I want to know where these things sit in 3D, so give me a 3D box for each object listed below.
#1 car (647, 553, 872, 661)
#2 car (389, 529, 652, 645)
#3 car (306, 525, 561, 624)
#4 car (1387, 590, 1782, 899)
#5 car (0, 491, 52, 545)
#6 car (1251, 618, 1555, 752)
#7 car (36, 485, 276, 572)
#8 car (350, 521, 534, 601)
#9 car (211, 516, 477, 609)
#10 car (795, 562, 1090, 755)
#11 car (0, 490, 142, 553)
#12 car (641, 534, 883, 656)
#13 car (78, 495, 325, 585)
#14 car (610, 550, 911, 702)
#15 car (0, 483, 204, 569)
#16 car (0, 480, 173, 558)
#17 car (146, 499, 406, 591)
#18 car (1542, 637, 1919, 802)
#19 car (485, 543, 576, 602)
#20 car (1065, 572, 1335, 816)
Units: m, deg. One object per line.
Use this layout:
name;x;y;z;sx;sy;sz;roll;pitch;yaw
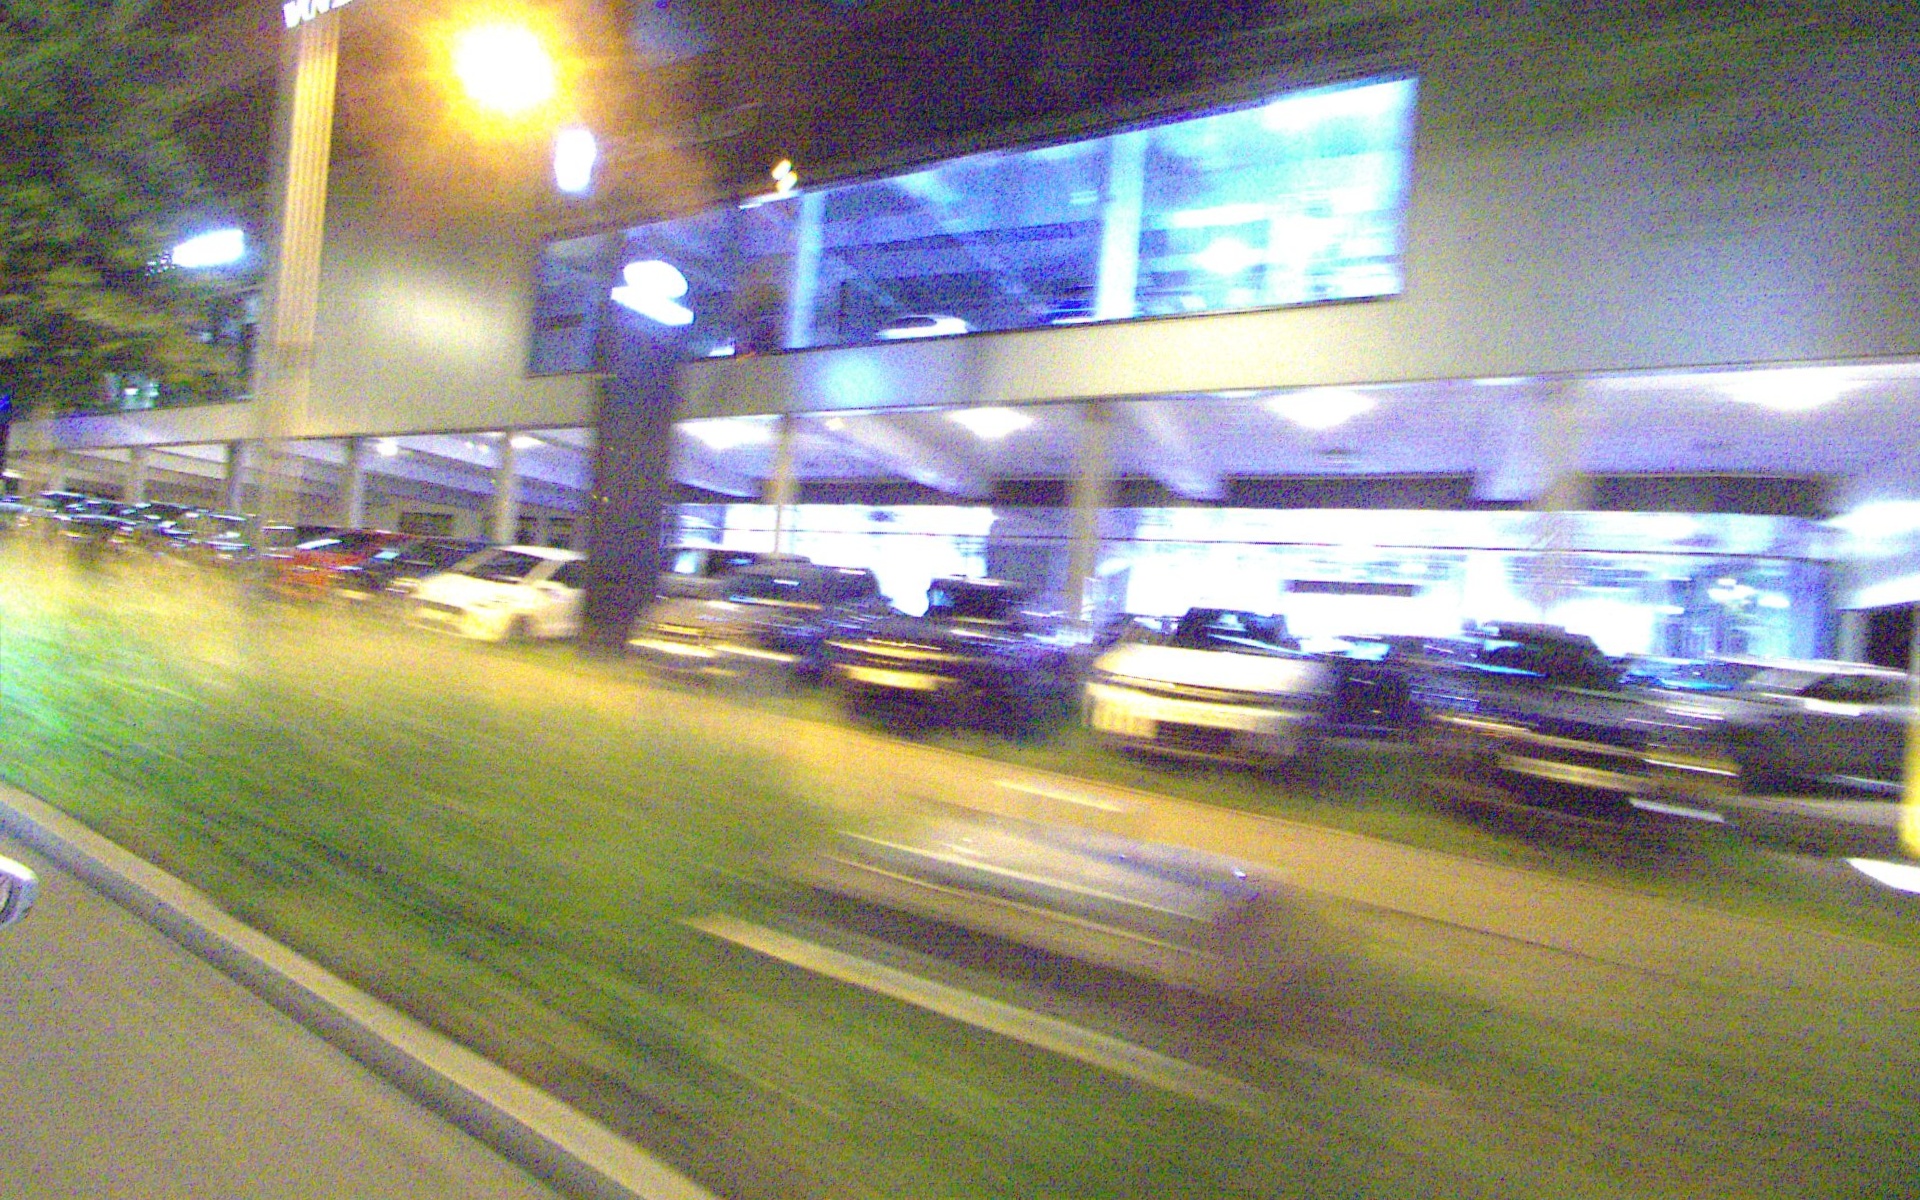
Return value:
car;-3.792;0.133;19.413;3.932;1.549;1.989;6;1;-9
car;-6.875;-0.175;16.194;1.685;1.472;3.812;7;1;17
car;-8.998;-0.429;17.547;1.684;1.398;3.775;6;3;18
car;5.118;1.003;9.025;1.963;1.833;4.471;7;1;20
car;-29.411;-2.648;29.148;1.841;1.436;4.140;6;-2;17
car;6.114;1.151;14.103;3.440;1.440;1.637;6;0;-6
car;-18.243;-1.563;23.097;1.798;1.489;4.000;7;1;12
car;-13.229;-0.967;25.833;3.726;1.482;1.626;7;0;-2
car;-11.254;-0.650;18.732;1.791;1.392;4.032;6;2;15
car;0.023;0.513;11.359;1.820;1.590;4.087;7;3;20
car;-25.038;-2.204;27.004;1.910;1.279;4.648;8;-1;7
car;-4.156;-0.071;21.745;4.743;1.940;1.834;7;-1;-6
car;-16.000;-1.199;21.523;1.791;1.409;4.001;8;1;9
car;-2.419;0.254;13.492;1.737;1.569;4.467;6;3;22
car;-20.523;-1.714;24.108;1.648;1.450;3.618;7;-2;8
car;-22.786;-2.072;25.555;1.873;1.440;4.004;8;-1;14
car;-13.672;-1.044;20.397;1.775;1.399;3.997;7;1;20
car;9.609;1.410;12.019;4.367;1.531;1.717;4;2;-8
car;-15.305;-0.925;36.078;1.628;1.673;4.320;7;-2;-6
car;2.668;0.708;10.249;1.963;1.710;4.468;7;3;20
